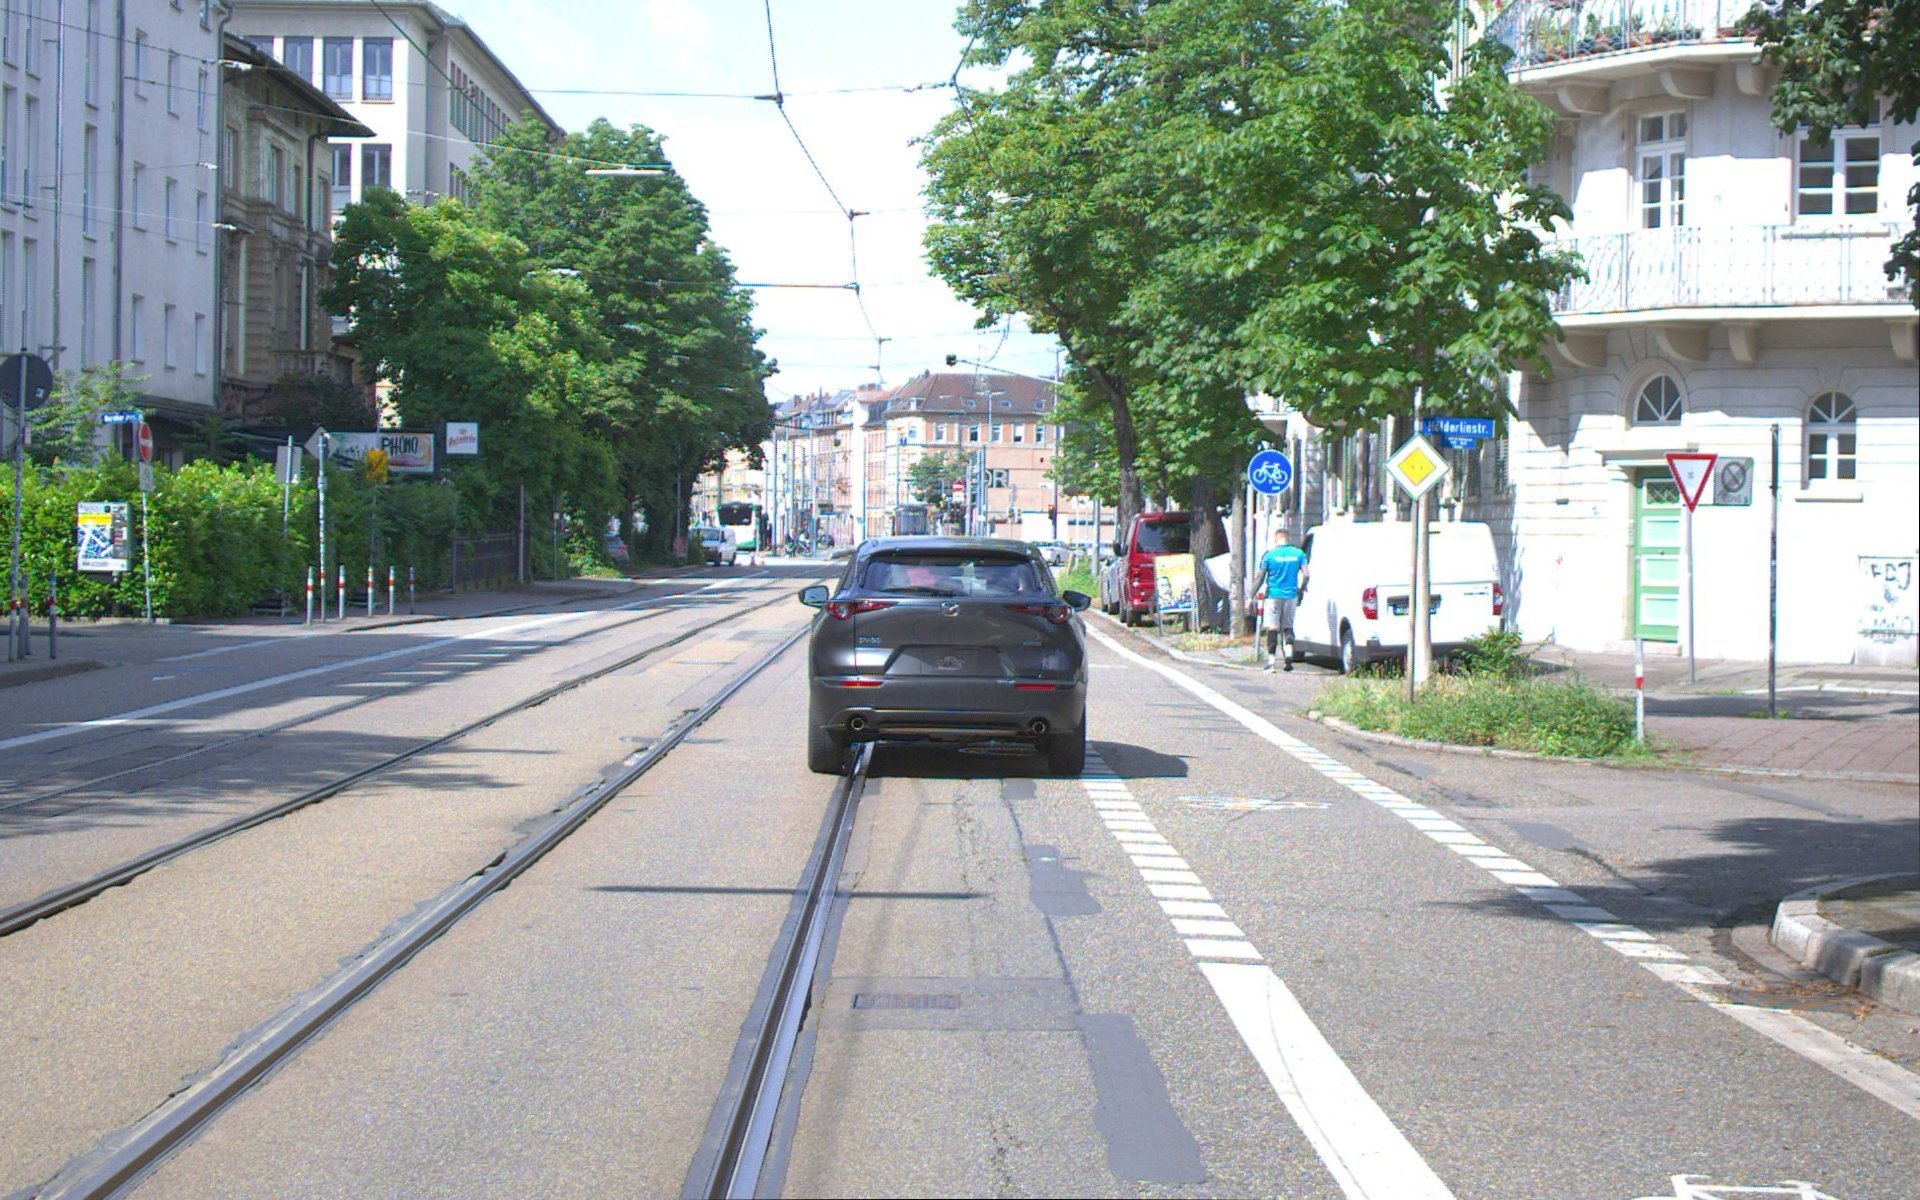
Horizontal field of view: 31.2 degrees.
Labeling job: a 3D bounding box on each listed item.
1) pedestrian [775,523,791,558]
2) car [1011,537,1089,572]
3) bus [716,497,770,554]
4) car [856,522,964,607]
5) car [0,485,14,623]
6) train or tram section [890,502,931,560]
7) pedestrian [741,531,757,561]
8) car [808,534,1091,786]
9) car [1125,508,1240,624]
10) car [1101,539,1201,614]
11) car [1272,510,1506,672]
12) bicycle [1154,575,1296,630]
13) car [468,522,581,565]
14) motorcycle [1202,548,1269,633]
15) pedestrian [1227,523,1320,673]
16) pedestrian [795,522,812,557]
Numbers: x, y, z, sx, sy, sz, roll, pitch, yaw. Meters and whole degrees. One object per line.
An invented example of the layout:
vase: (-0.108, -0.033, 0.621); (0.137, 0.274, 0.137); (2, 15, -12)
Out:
pedestrian: (-10.243, -3.458, 198.885); (0.884, 2.007, 0.618); (1, 1, -4)
car: (4.867, -2.455, 185.698); (3.805, 1.612, 1.638); (3, 1, -18)
bus: (-13.934, -4.773, 220.398); (2.688, 3.409, 11.020); (3, 1, -7)
car: (-0.987, -0.715, 67.696); (1.993, 1.523, 4.000); (3, 1, -1)
car: (-16.356, -0.715, 50.049); (4.667, 2.007, 2.044); (2, 1, 22)
train or tram section: (-3.300, -4.675, 232.977); (2.571, 3.759, 13.026); (1, 1, 0)
pedestrian: (-10.724, -2.723, 174.447); (0.751, 1.505, 0.824); (1, 1, -5)
car: (-0.096, 0.340, 23.034); (1.720, 1.521, 3.590); (1, 1, -1)
car: (3.908, -0.621, 60.890); (1.720, 1.962, 4.207); (1, 1, 0)
car: (3.785, -0.484, 68.691); (1.720, 1.419, 3.590); (1, 1, -1)
car: (5.407, -0.172, 43.996); (1.786, 1.932, 4.992); (1, 1, -7)
bicycle: (4.393, 0.033, 57.095); (2.275, 0.858, 0.672); (1, 1, -1)
car: (-15.198, -1.978, 120.116); (3.746, 1.283, 1.611); (3, 1, -4)
motorcycle: (4.288, -0.167, 53.650); (0.794, 1.267, 2.422); (1, 1, -1)
pedestrian: (3.899, -0.035, 42.734); (0.816, 1.829, 0.961); (2, 2, 26)
pedestrian: (-9.050, -3.482, 198.801); (0.884, 2.007, 0.618); (1, 1, -4)
